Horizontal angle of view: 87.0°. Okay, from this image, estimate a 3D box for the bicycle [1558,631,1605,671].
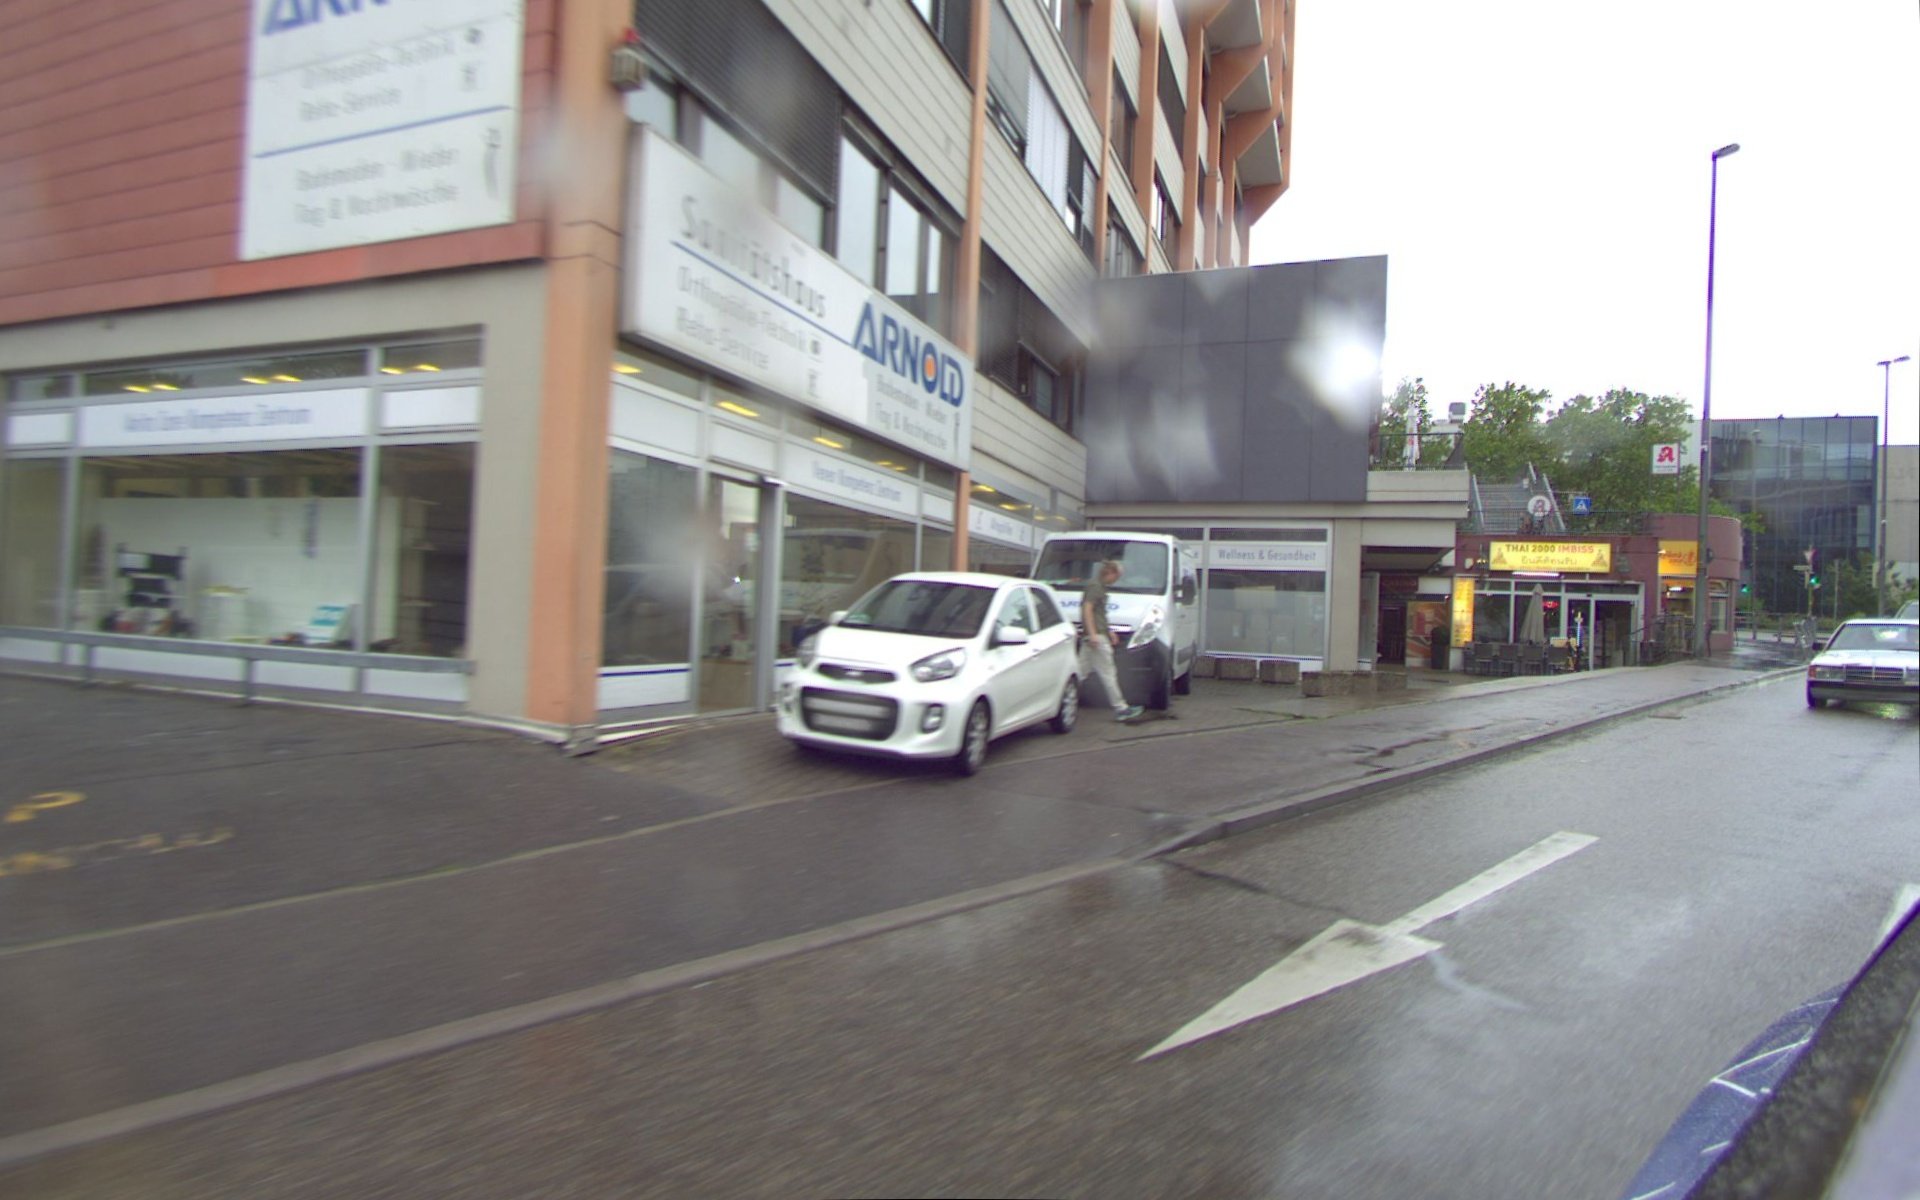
[{"bbox_3d":[16.575,1.346,27.020,0.523,0.949,1.571,3,2,12],"label":"bicycle"}]

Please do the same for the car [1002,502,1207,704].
[{"bbox_3d":[2.217,0.095,14.093,1.981,2.237,4.846,3,-1,17],"label":"car"}]

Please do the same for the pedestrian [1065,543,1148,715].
[{"bbox_3d":[1.576,0.300,10.906,0.590,1.789,0.593,3,-1,-44],"label":"pedestrian"}]

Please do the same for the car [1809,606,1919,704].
[{"bbox_3d":[14.905,0.797,15.912,3.923,1.324,1.662,0,1,-39],"label":"car"}]

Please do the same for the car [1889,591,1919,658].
[{"bbox_3d":[26.173,0.625,26.580,4.401,1.668,2.057,0,1,-40],"label":"car"}]

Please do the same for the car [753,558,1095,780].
[{"bbox_3d":[-0.106,0.422,8.654,1.599,1.480,3.396,1,1,24],"label":"car"}]

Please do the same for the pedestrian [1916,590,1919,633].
[{"bbox_3d":[41.742,0.516,43.476,0.781,1.825,0.689,0,3,-31],"label":"pedestrian"}]
